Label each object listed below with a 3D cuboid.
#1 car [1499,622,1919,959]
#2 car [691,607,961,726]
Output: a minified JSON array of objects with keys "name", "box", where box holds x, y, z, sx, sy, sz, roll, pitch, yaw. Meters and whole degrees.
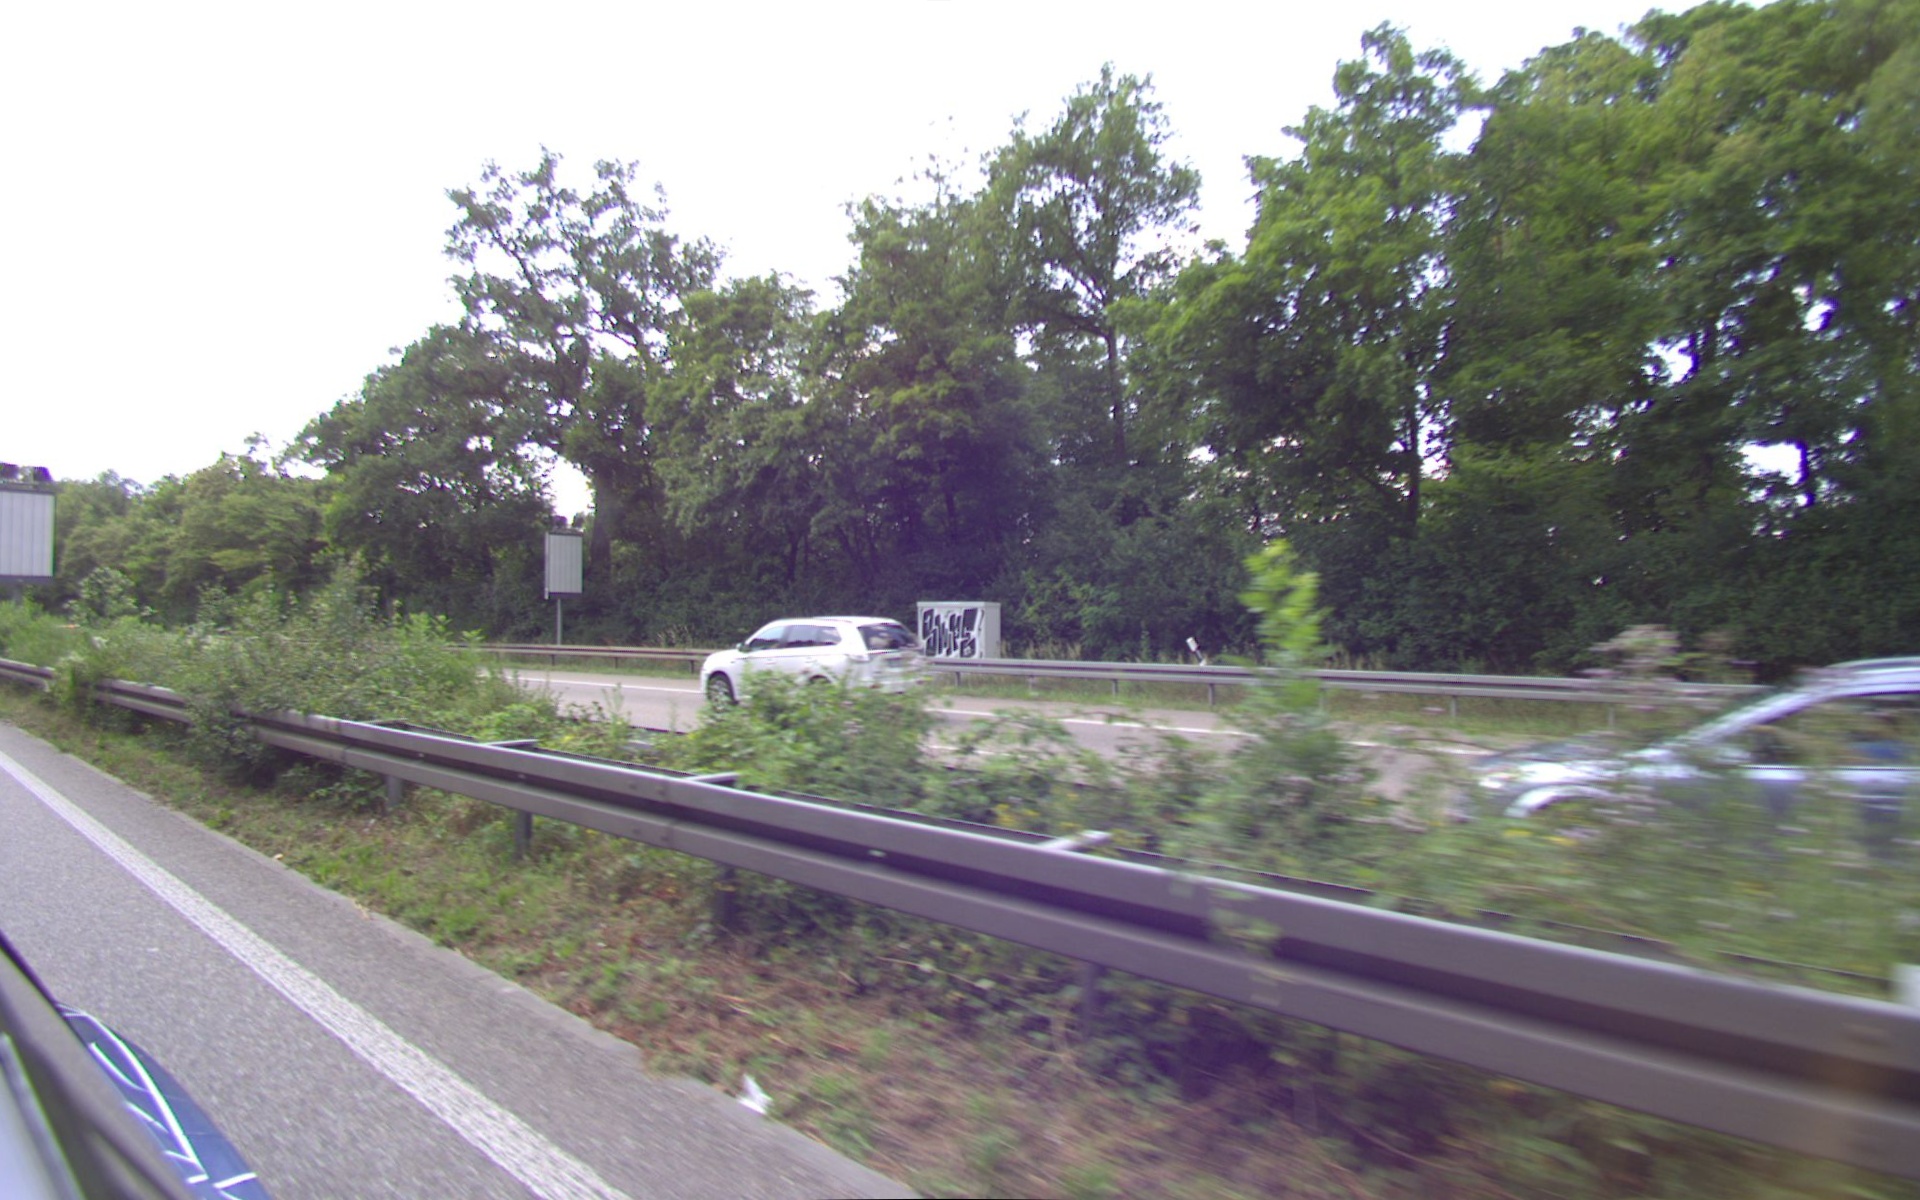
[{"name":"car","box":[5.345,0.915,5.315,4.136,1.600,1.802,-1,-2,41]},{"name":"car","box":[-2.405,1.041,17.228,4.877,1.752,1.767,-1,-2,40]}]
